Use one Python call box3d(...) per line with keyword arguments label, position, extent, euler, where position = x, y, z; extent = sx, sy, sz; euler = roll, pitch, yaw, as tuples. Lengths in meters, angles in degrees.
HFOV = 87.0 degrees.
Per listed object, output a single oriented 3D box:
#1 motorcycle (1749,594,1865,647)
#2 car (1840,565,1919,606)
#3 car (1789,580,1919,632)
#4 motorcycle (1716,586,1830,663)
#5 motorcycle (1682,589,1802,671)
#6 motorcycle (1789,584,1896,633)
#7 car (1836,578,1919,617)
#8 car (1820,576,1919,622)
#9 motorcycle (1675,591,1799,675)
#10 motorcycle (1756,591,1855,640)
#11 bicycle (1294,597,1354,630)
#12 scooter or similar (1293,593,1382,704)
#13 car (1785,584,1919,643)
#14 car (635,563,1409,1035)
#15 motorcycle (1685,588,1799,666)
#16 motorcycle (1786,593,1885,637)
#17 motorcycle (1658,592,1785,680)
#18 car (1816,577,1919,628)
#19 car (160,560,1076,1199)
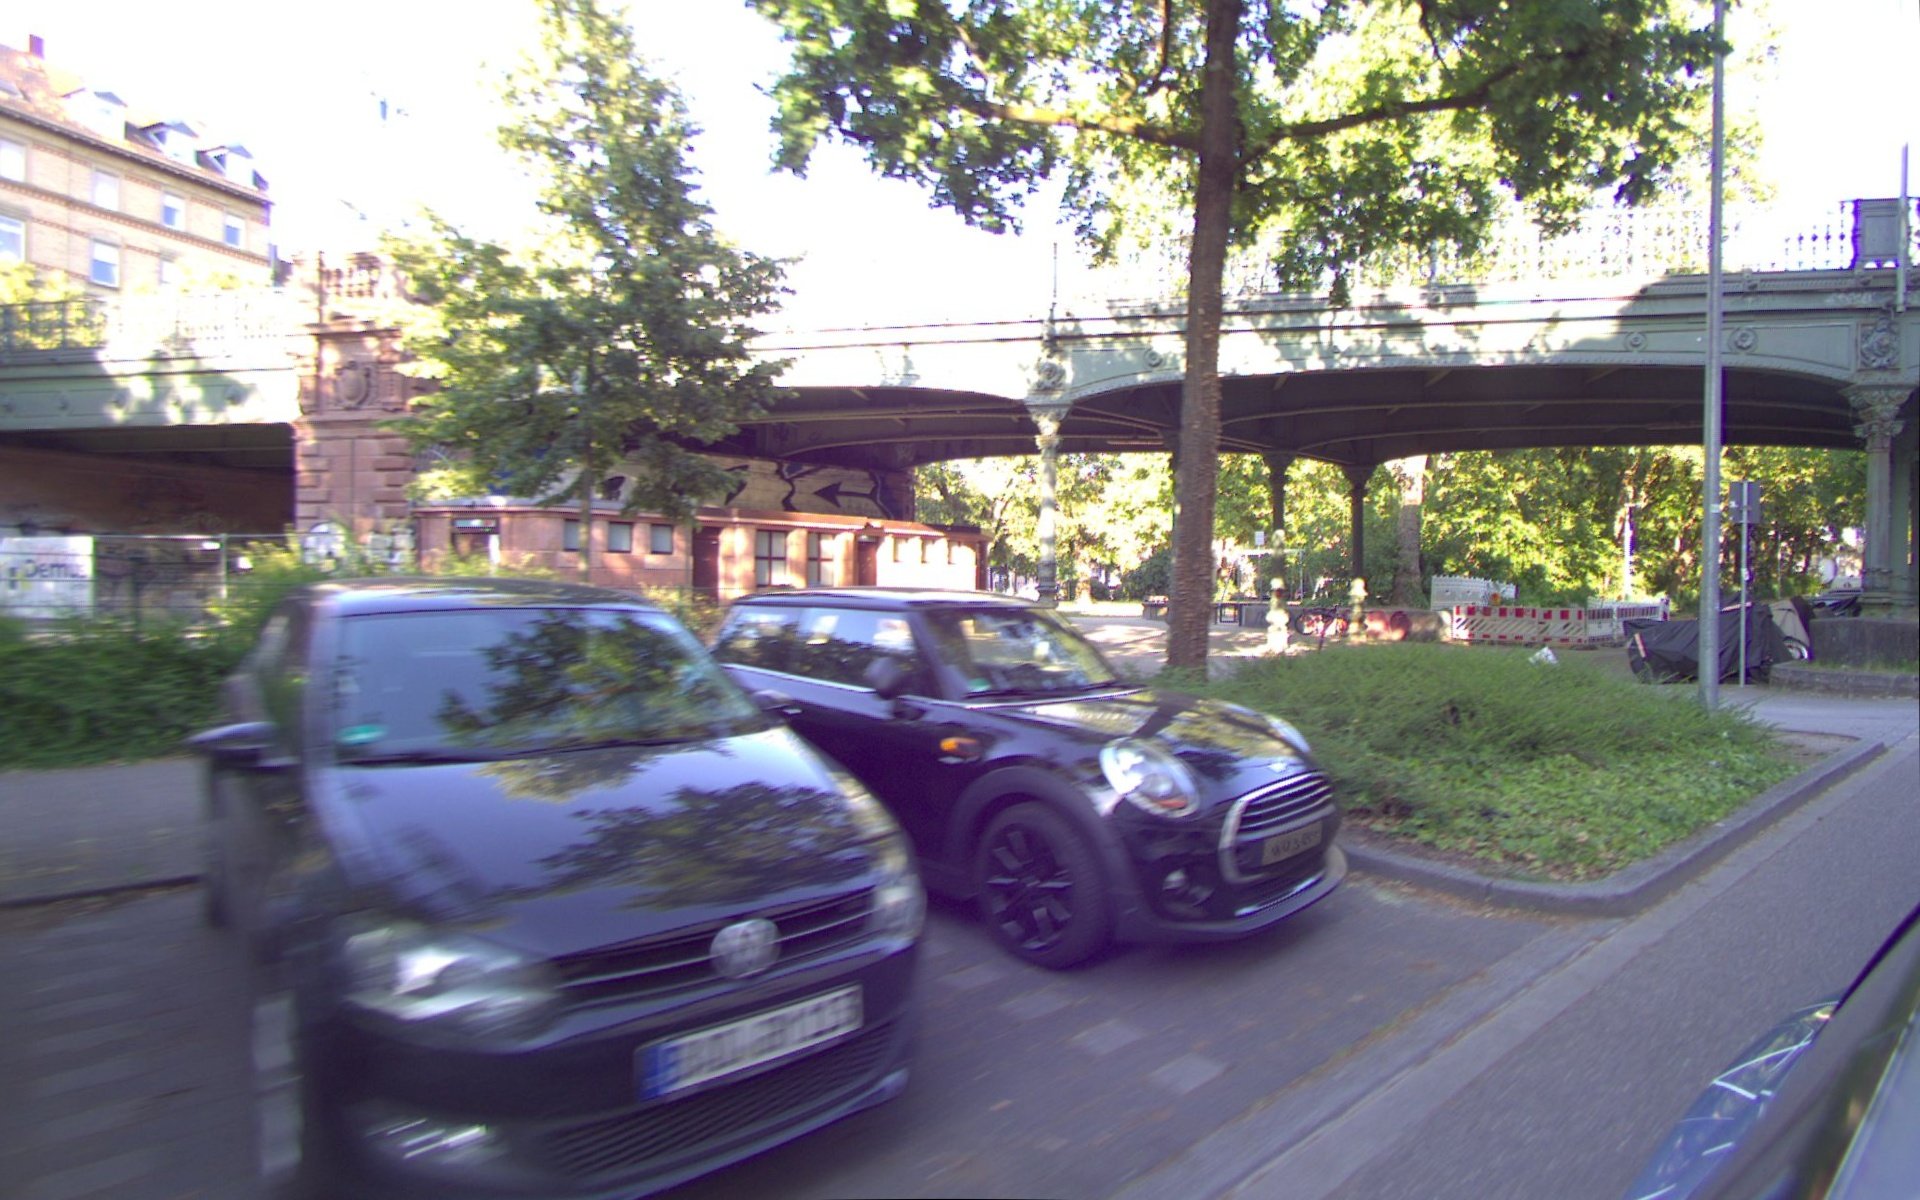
box3d(label="motorcycle", position=(19.137, 0.454, 22.912), extent=(1.817, 1.146, 0.844), euler=(-1, 1, 24))
box3d(label="car", position=(48.321, -0.730, 51.867), extent=(1.842, 1.948, 4.676), euler=(-2, 5, -44))
box3d(label="car", position=(31.119, 0.173, 34.173), extent=(1.704, 1.625, 4.597), euler=(-2, 2, -39))
box3d(label="motorcycle", position=(16.056, 0.457, 20.024), extent=(0.698, 1.426, 1.608), euler=(-2, 1, -23))
box3d(label="motorcycle", position=(14.494, 0.525, 18.802), extent=(0.698, 1.426, 1.608), euler=(-2, 1, -23))
box3d(label="motorcycle", position=(23.280, 0.226, 26.741), extent=(1.913, 1.253, 0.898), euler=(-1, 1, 22))
box3d(label="car", position=(39.797, -0.111, 42.824), extent=(1.562, 1.593, 4.022), euler=(-2, 1, -44))
box3d(label="car", position=(36.621, -0.067, 39.501), extent=(1.877, 1.717, 4.534), euler=(-2, 1, -44))
box3d(label="motorcycle", position=(13.914, 0.554, 18.170), extent=(0.698, 1.426, 1.608), euler=(-2, 1, -23))
box3d(label="motorcycle", position=(20.621, 0.376, 24.713), extent=(1.700, 1.146, 0.710), euler=(-1, 1, 13))
box3d(label="bicycle", position=(10.766, 0.403, 29.960), extent=(1.593, 0.868, 0.521), euler=(3, 2, 16))
box3d(label="scooter or similar", position=(4.834, 0.590, 12.943), extent=(1.302, 1.314, 0.478), euler=(-2, 1, -41))
box3d(label="car", position=(26.479, 0.357, 28.889), extent=(1.647, 1.597, 4.376), euler=(-2, 1, -44))
box3d(label="car", position=(0.039, 0.572, 5.134), extent=(3.782, 1.490, 1.610), euler=(2, 3, 44))
box3d(label="motorcycle", position=(15.168, 0.488, 19.668), extent=(0.698, 1.426, 1.608), euler=(-2, 1, -23))
box3d(label="motorcycle", position=(22.095, 0.370, 25.574), extent=(1.700, 1.043, 0.809), euler=(-1, 1, 13))
box3d(label="motorcycle", position=(13.156, 0.587, 17.524), extent=(0.698, 1.426, 1.608), euler=(-2, 1, -23))
box3d(label="car", position=(33.229, 0.079, 35.823), extent=(4.373, 1.730, 1.878), euler=(0, 1, 43))
box3d(label="car", position=(-1.593, 0.573, 3.647), extent=(1.796, 1.418, 3.788), euler=(-2, 3, -42))
